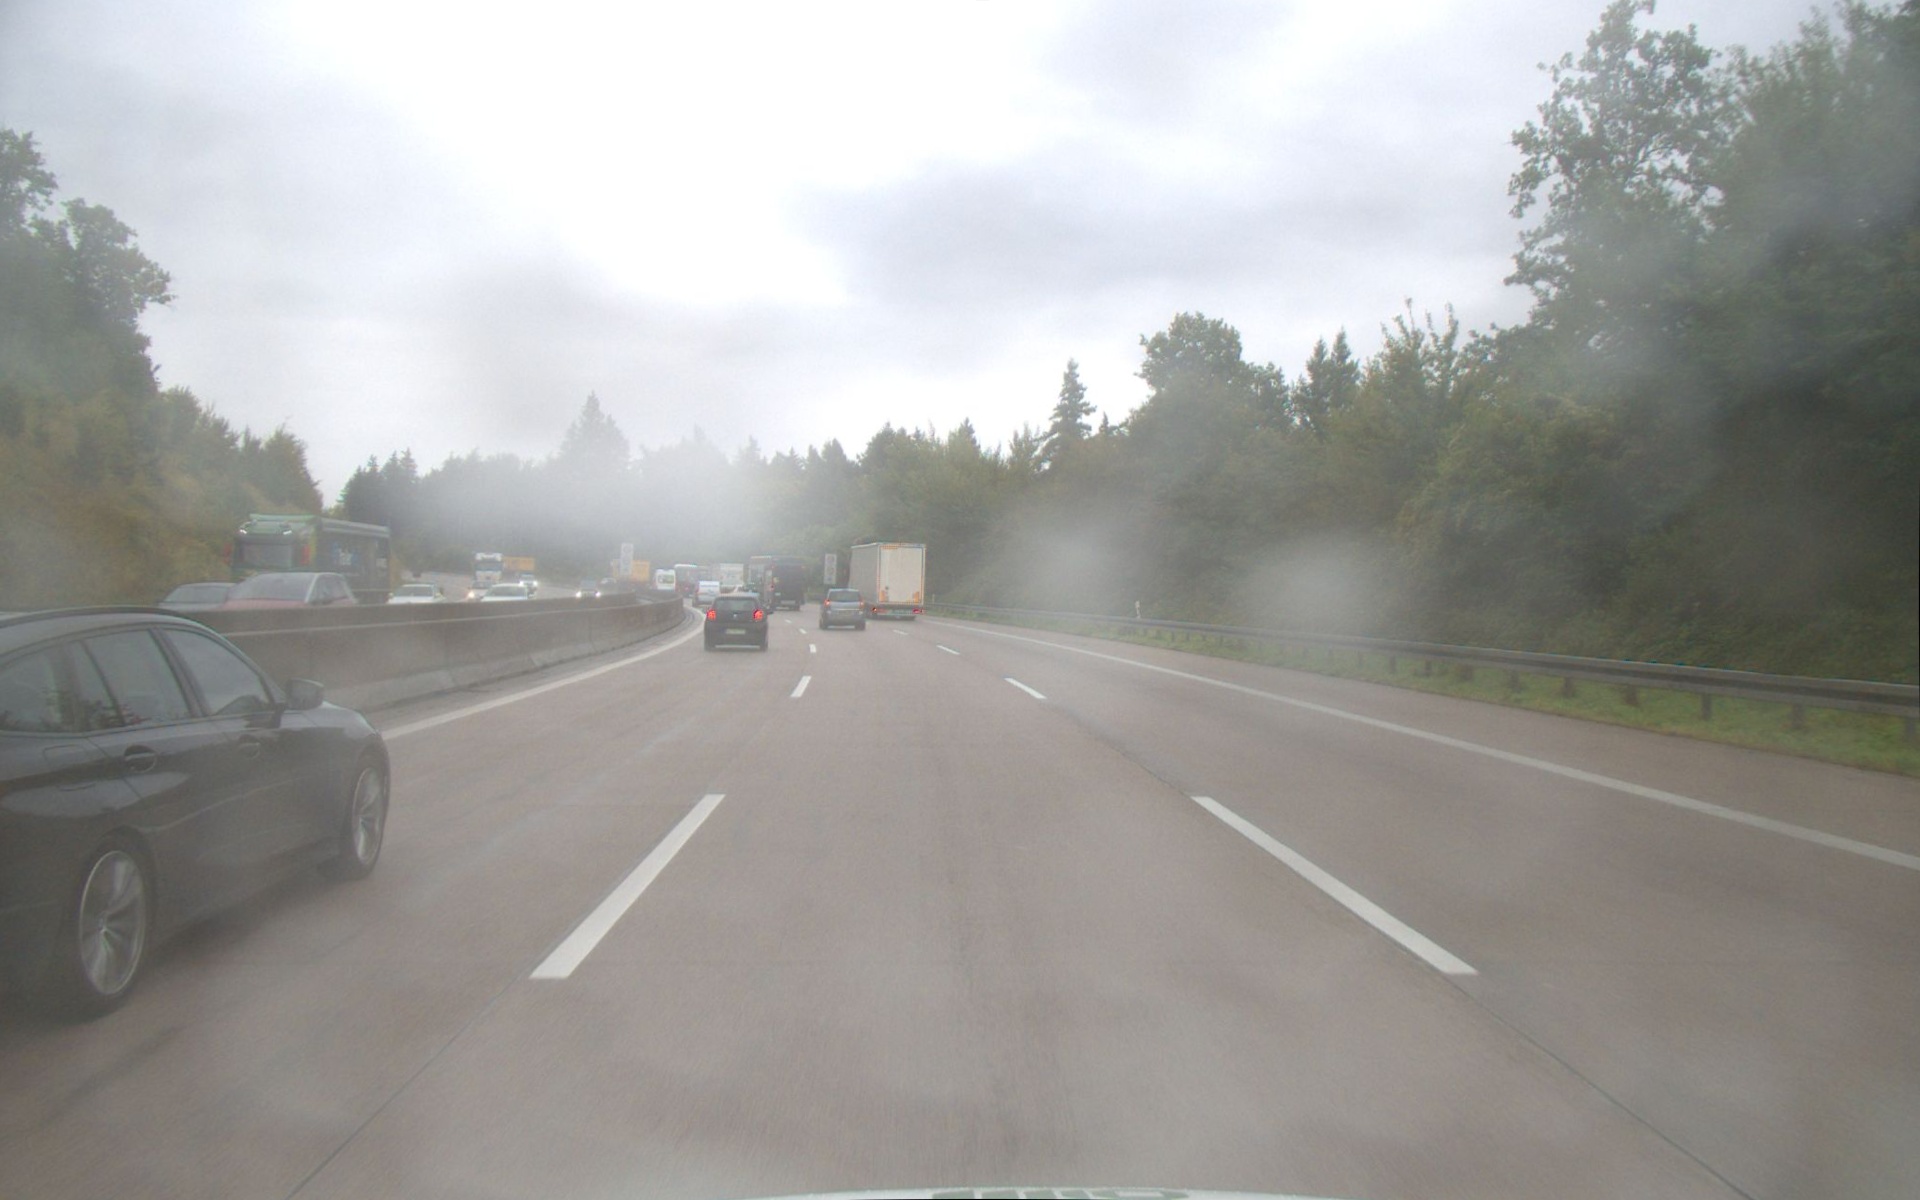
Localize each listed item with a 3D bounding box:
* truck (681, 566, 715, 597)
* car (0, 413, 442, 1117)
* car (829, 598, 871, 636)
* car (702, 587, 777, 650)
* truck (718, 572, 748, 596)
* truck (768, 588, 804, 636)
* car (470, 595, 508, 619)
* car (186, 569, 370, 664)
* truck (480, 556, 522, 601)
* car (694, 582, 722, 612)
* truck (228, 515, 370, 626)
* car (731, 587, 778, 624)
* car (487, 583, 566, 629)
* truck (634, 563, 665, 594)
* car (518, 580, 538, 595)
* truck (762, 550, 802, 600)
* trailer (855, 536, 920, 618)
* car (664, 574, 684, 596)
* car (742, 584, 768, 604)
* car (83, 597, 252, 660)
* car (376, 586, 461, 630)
[{"bbox_3d":[-26.981,-1.908,169.985,3.028,2.956,7.881,1,1,-12],"label":"truck"},{"bbox_3d":[-3.773,0.449,6.604,1.870,1.979,6.157,1,0,-4],"label":"car"},{"bbox_3d":[-4.405,0.677,66.503,1.523,1.375,3.682,3,0,-2],"label":"car"},{"bbox_3d":[-5.733,0.453,43.310,1.651,1.487,3.680,3,0,-4],"label":"car"},{"bbox_3d":[-24.417,-1.703,177.505,2.920,2.349,6.652,3,0,-10],"label":"truck"},{"bbox_3d":[-12.014,0.769,114.561,2.225,2.937,7.897,2,1,-4],"label":"truck"},{"bbox_3d":[-31.074,0.424,109.170,1.697,1.519,3.995,0,0,-6],"label":"car"},{"bbox_3d":[-13.802,0.302,33.765,1.953,1.799,4.536,1,0,-2],"label":"car"},{"bbox_3d":[-41.215,-1.919,148.665,2.854,3.957,7.348,1,0,-10],"label":"truck"},{"bbox_3d":[-18.044,-0.215,118.597,1.692,2.049,3.653,1,0,-5],"label":"car"},{"bbox_3d":[-25.473,-1.083,64.202,2.870,4.030,8.109,1,0,-5],"label":"truck"},{"bbox_3d":[-8.340,0.188,67.361,1.523,1.375,3.682,3,0,-2],"label":"car"},{"bbox_3d":[-16.095,0.197,61.653,1.954,1.612,4.769,1,0,-4],"label":"car"},{"bbox_3d":[-43.626,-3.006,232.107,3.679,4.283,6.788,1,0,-16],"label":"truck"},{"bbox_3d":[-47.034,-1.369,180.143,1.699,1.603,4.234,0,0,-10],"label":"car"},{"bbox_3d":[-15.782,-2.216,146.453,3.305,4.203,10.422,1,1,-7],"label":"truck"},{"bbox_3d":[-4.114,-1.284,91.483,2.374,4.139,12.033,1,1,-8],"label":"trailer"},{"bbox_3d":[-28.202,-1.502,163.161,1.957,2.095,3.991,1,0,-10],"label":"car"},{"bbox_3d":[-16.142,-0.491,130.090,1.845,1.498,3.996,3,0,-6],"label":"car"},{"bbox_3d":[-17.844,0.602,37.478,1.954,1.316,4.294,1,0,-4],"label":"car"},{"bbox_3d":[-21.039,0.286,64.458,1.954,1.612,4.769,1,0,-4],"label":"car"}]
